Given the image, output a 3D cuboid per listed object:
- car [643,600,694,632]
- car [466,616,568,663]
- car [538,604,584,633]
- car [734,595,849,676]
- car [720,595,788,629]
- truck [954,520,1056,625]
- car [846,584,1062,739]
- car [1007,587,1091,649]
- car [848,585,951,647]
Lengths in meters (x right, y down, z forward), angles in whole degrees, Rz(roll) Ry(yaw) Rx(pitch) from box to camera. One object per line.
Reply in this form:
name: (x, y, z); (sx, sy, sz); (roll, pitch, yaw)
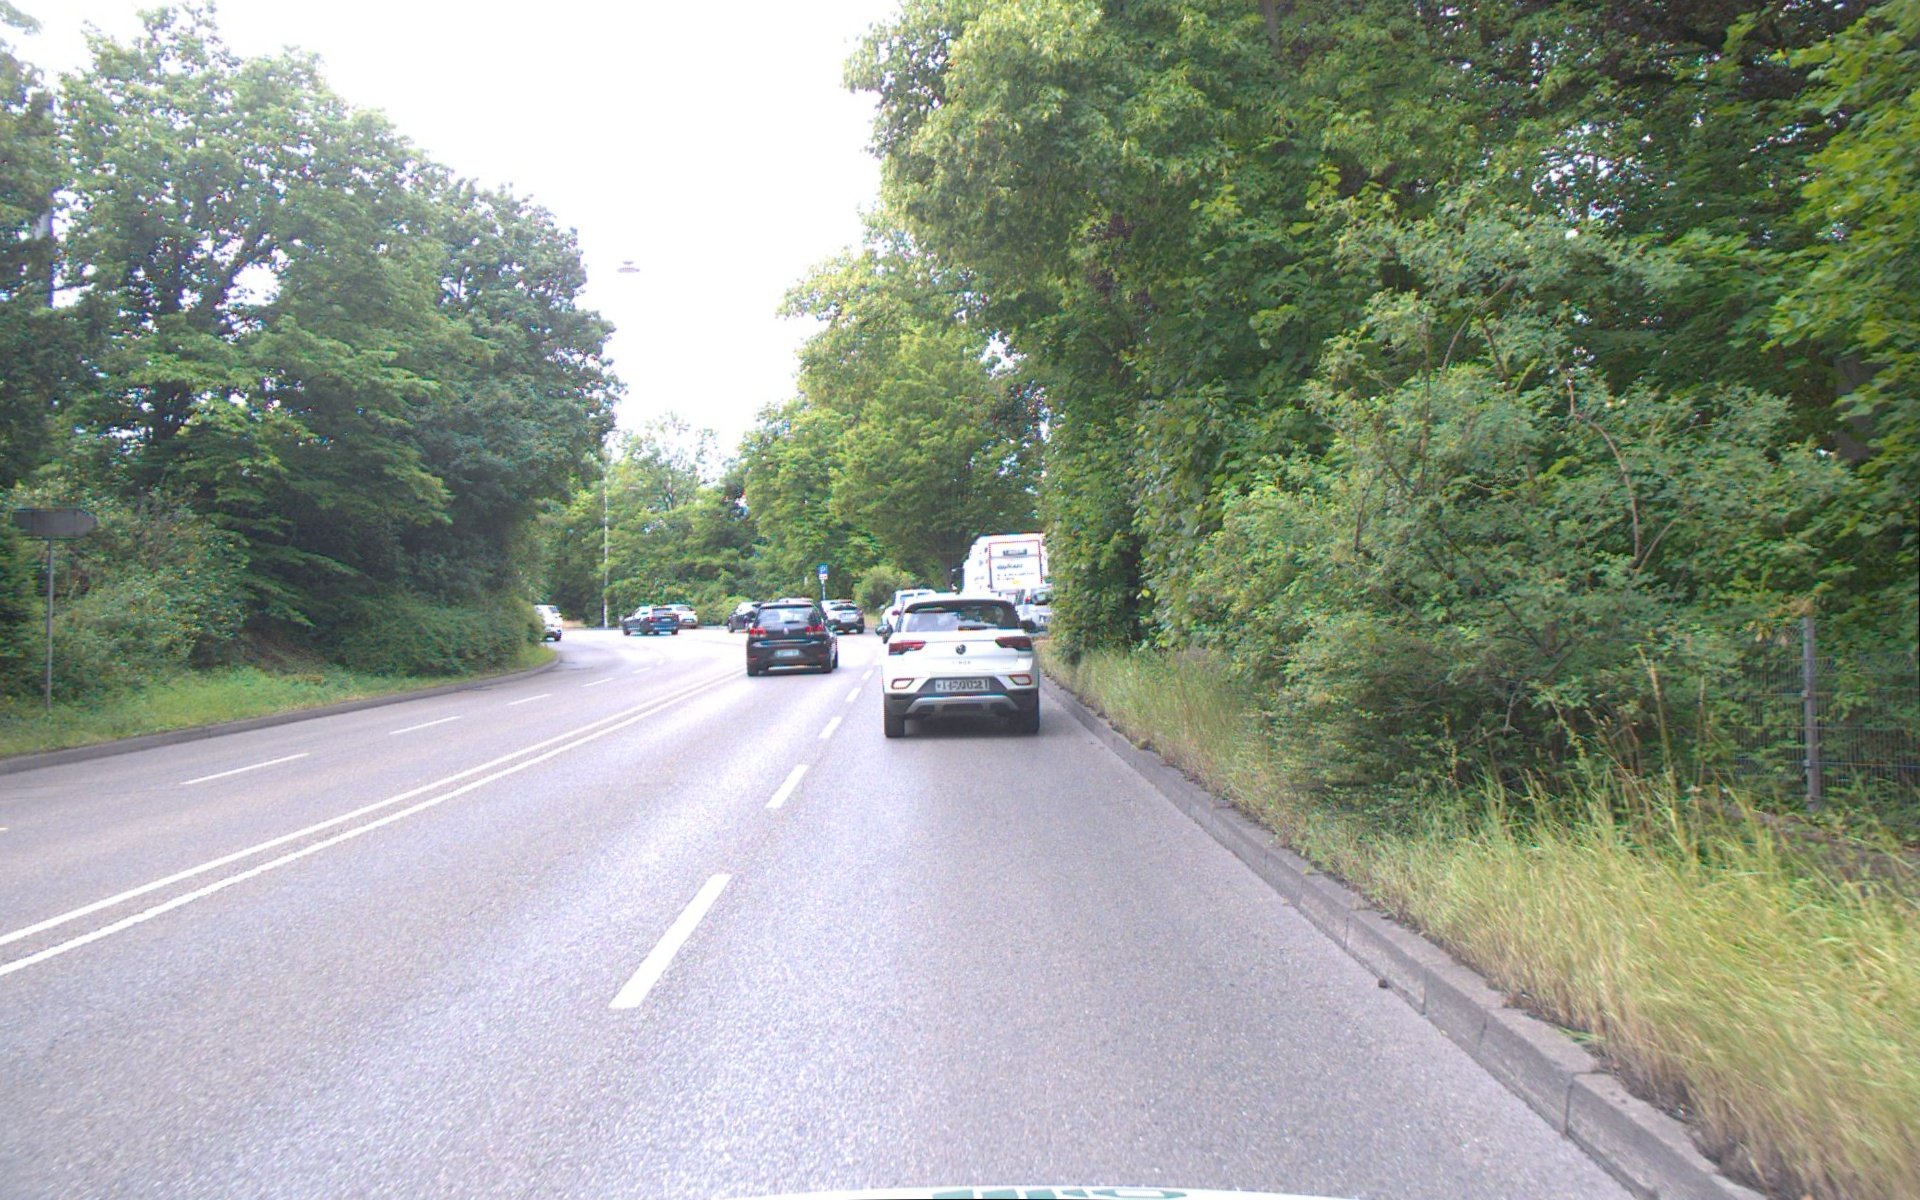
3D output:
car: (-14.912, 0.809, 84.696); (1.953, 1.620, 3.999); (0, 0, -1)
car: (-20.969, 1.851, 78.294); (4.330, 1.722, 1.864); (3, 8, 19)
car: (-23.481, 1.076, 97.393); (1.785, 1.651, 3.999); (0, 0, -1)
car: (-3.439, 0.710, 34.518); (1.909, 1.491, 4.000); (-3, 0, 0)
car: (-10.257, 0.609, 82.186); (1.750, 1.635, 3.953); (1, -1, -34)
truck: (1.390, -0.831, 54.876); (2.434, 3.237, 7.218); (1, 0, -6)
car: (-0.189, 0.666, 19.487); (1.964, 1.624, 3.992); (1, 0, -9)
car: (2.370, 0.471, 44.896); (1.767, 1.551, 3.997); (-2, 0, -4)
car: (-1.906, 0.465, 50.932); (1.826, 1.732, 3.972); (-3, 1, -23)
